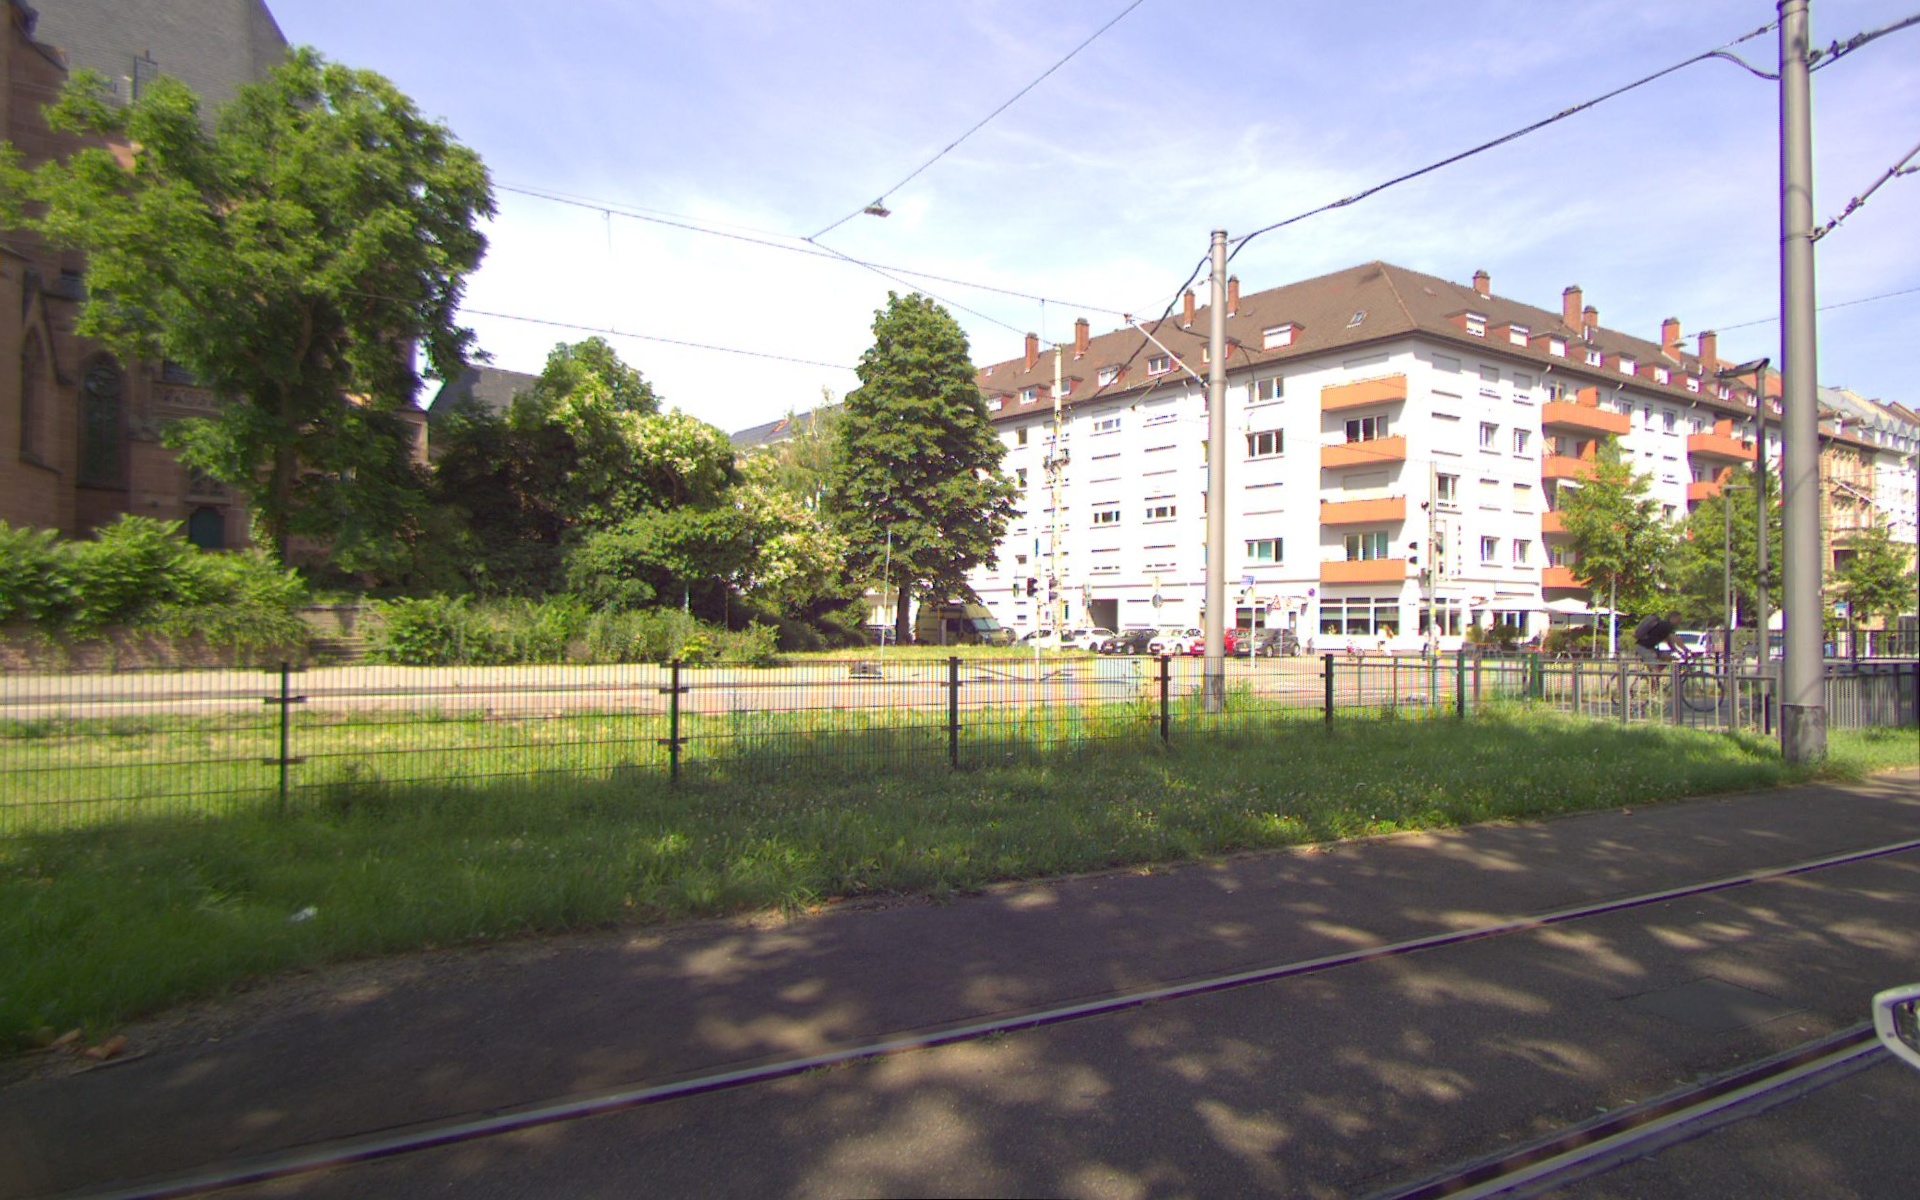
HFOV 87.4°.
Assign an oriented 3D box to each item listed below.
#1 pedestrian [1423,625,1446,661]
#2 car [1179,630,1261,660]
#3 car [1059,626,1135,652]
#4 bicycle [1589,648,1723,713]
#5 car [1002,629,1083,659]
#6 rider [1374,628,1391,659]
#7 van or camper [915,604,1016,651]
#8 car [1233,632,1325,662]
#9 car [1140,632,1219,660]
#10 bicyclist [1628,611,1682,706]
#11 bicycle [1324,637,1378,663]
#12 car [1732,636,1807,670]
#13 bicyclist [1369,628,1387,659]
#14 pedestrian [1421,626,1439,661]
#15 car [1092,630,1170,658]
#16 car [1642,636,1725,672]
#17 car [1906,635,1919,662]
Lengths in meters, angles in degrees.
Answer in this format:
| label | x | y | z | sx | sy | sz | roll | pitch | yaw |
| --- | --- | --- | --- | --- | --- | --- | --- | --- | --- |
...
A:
| label | x | y | z | sx | sy | sz | roll | pitch | yaw |
| --- | --- | --- | --- | --- | --- | --- | --- | --- | --- |
| pedestrian | 21.636 | 1.964 | 45.796 | 0.846 | 1.593 | 0.688 | 0 | -1 | 36 |
| car | 13.130 | 2.267 | 50.680 | 4.129 | 1.425 | 1.918 | 2 | -2 | -38 |
| car | 7.774 | 2.209 | 56.871 | 4.129 | 1.425 | 1.917 | 2 | -2 | -38 |
| bicycle | 12.282 | 1.406 | 17.788 | 1.890 | 1.063 | 0.532 | 0 | -1 | 25 |
| car | 4.071 | 2.152 | 49.921 | 3.702 | 1.425 | 1.823 | -1 | -2 | 44 |
| rider | 20.110 | 2.065 | 47.799 | 0.616 | 1.442 | 0.587 | 0 | -2 | 44 |
| van or camper | 0.242 | 1.471 | 54.311 | 2.229 | 2.360 | 5.704 | 2 | -2 | -42 |
| car | 15.300 | 2.222 | 48.088 | 4.598 | 1.394 | 1.821 | 2 | -2 | -36 |
| car | 11.585 | 2.393 | 52.993 | 4.129 | 1.425 | 1.918 | 2 | -2 | -38 |
| bicyclist | 12.295 | 1.026 | 17.787 | 0.682 | 1.644 | 0.624 | 0 | -1 | 25 |
| bicycle | 17.998 | 2.275 | 46.181 | 2.779 | 1.152 | 0.905 | 2 | -2 | -34 |
| car | 38.344 | 2.503 | 47.565 | 3.962 | 1.518 | 1.759 | 2 | -3 | -36 |
| bicyclist | 19.702 | 2.058 | 47.332 | 0.616 | 1.442 | 0.587 | 0 | -2 | 44 |
| pedestrian | 21.208 | 1.958 | 45.324 | 0.679 | 1.593 | 0.544 | 0 | -1 | 36 |
| car | 9.295 | 2.387 | 54.556 | 4.129 | 1.425 | 1.917 | 2 | -2 | -38 |
| car | 31.198 | 2.309 | 43.276 | 3.962 | 1.518 | 1.759 | 2 | -3 | -36 |
| car | 56.782 | 2.810 | 58.482 | 3.962 | 1.518 | 1.758 | 2 | -2 | -36 |
